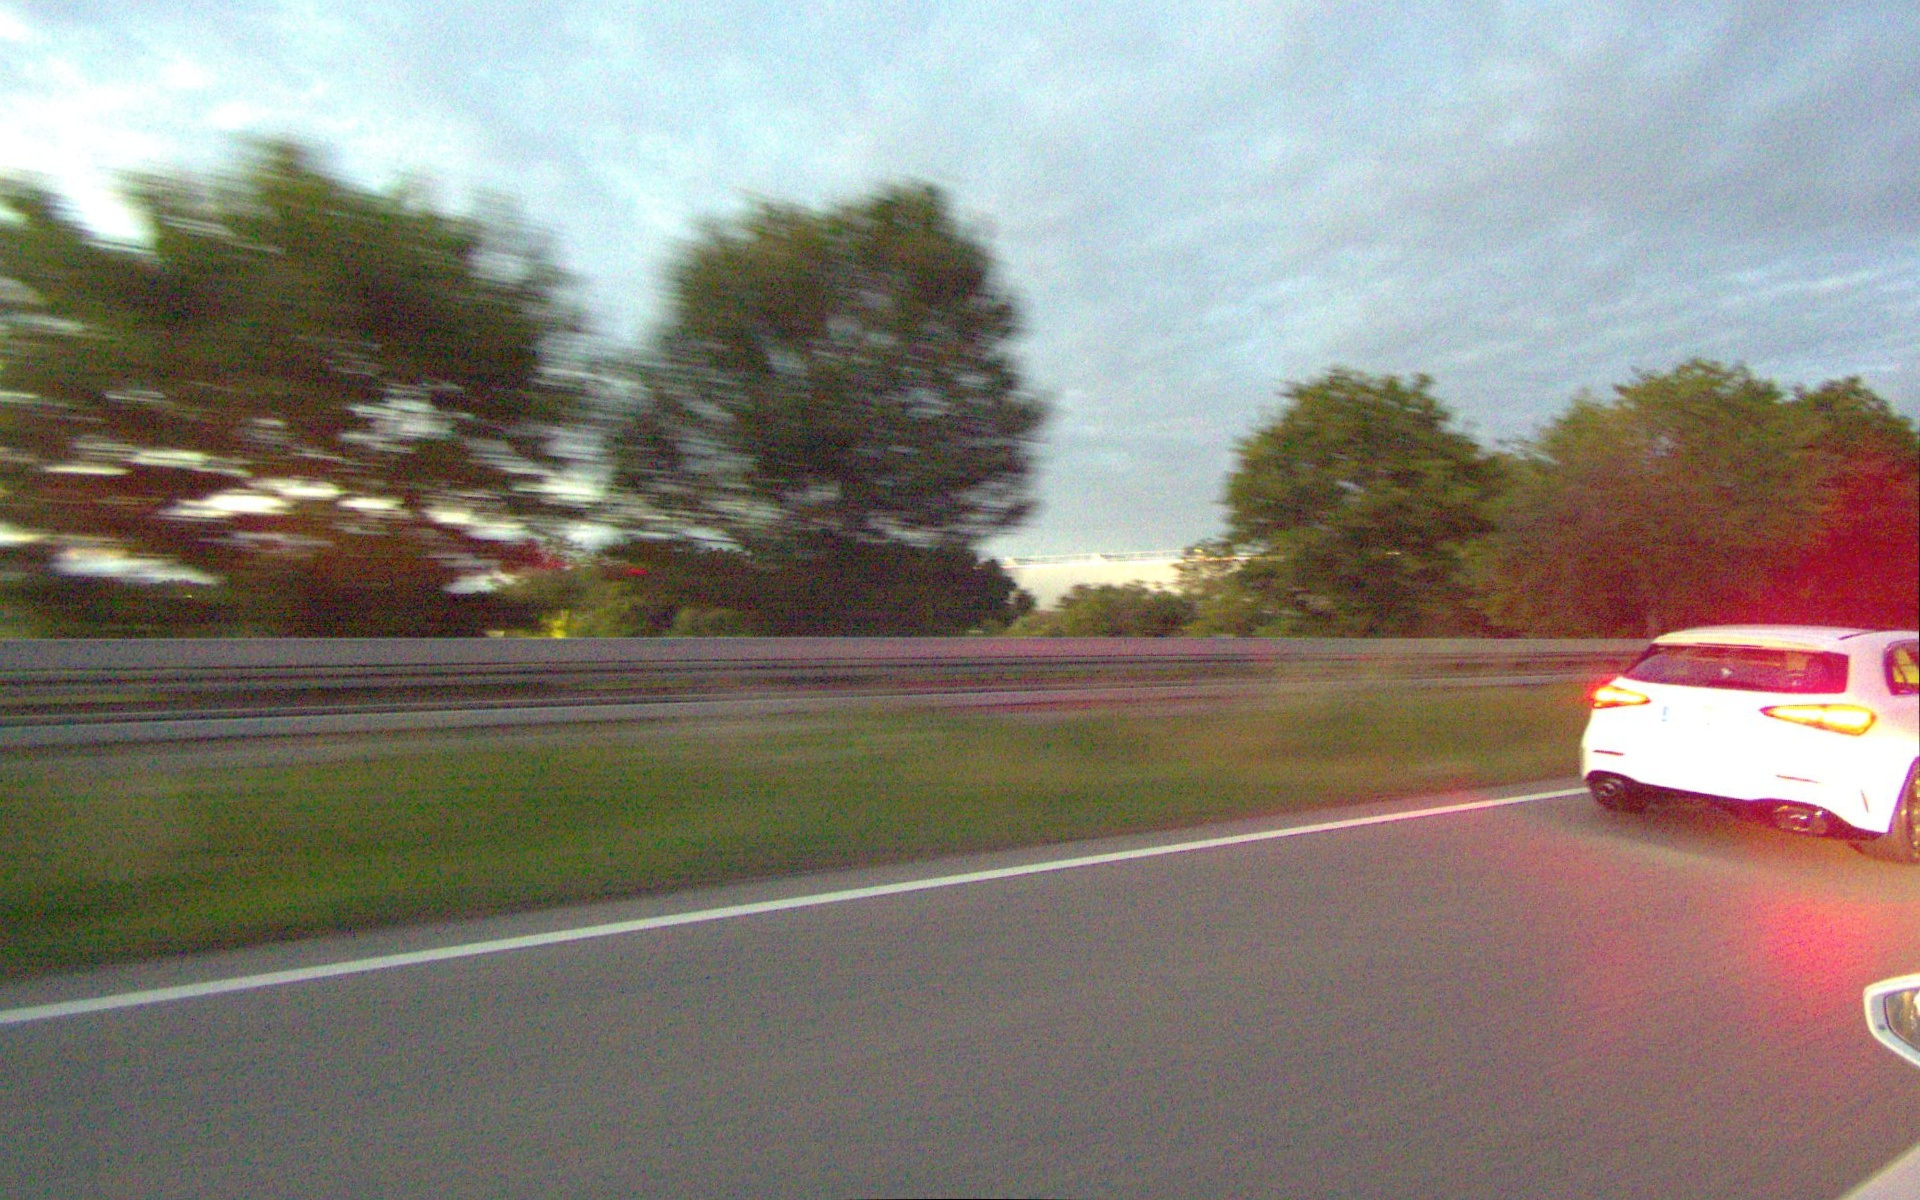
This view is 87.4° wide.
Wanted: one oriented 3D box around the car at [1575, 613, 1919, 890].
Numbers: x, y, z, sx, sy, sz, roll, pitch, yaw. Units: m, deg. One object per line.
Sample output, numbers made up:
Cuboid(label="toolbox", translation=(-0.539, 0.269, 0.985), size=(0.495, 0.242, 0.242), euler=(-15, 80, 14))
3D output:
Cuboid(label="car", translation=(6.633, 0.910, 7.465), size=(4.528, 1.510, 1.633), euler=(2, 0, -31))
